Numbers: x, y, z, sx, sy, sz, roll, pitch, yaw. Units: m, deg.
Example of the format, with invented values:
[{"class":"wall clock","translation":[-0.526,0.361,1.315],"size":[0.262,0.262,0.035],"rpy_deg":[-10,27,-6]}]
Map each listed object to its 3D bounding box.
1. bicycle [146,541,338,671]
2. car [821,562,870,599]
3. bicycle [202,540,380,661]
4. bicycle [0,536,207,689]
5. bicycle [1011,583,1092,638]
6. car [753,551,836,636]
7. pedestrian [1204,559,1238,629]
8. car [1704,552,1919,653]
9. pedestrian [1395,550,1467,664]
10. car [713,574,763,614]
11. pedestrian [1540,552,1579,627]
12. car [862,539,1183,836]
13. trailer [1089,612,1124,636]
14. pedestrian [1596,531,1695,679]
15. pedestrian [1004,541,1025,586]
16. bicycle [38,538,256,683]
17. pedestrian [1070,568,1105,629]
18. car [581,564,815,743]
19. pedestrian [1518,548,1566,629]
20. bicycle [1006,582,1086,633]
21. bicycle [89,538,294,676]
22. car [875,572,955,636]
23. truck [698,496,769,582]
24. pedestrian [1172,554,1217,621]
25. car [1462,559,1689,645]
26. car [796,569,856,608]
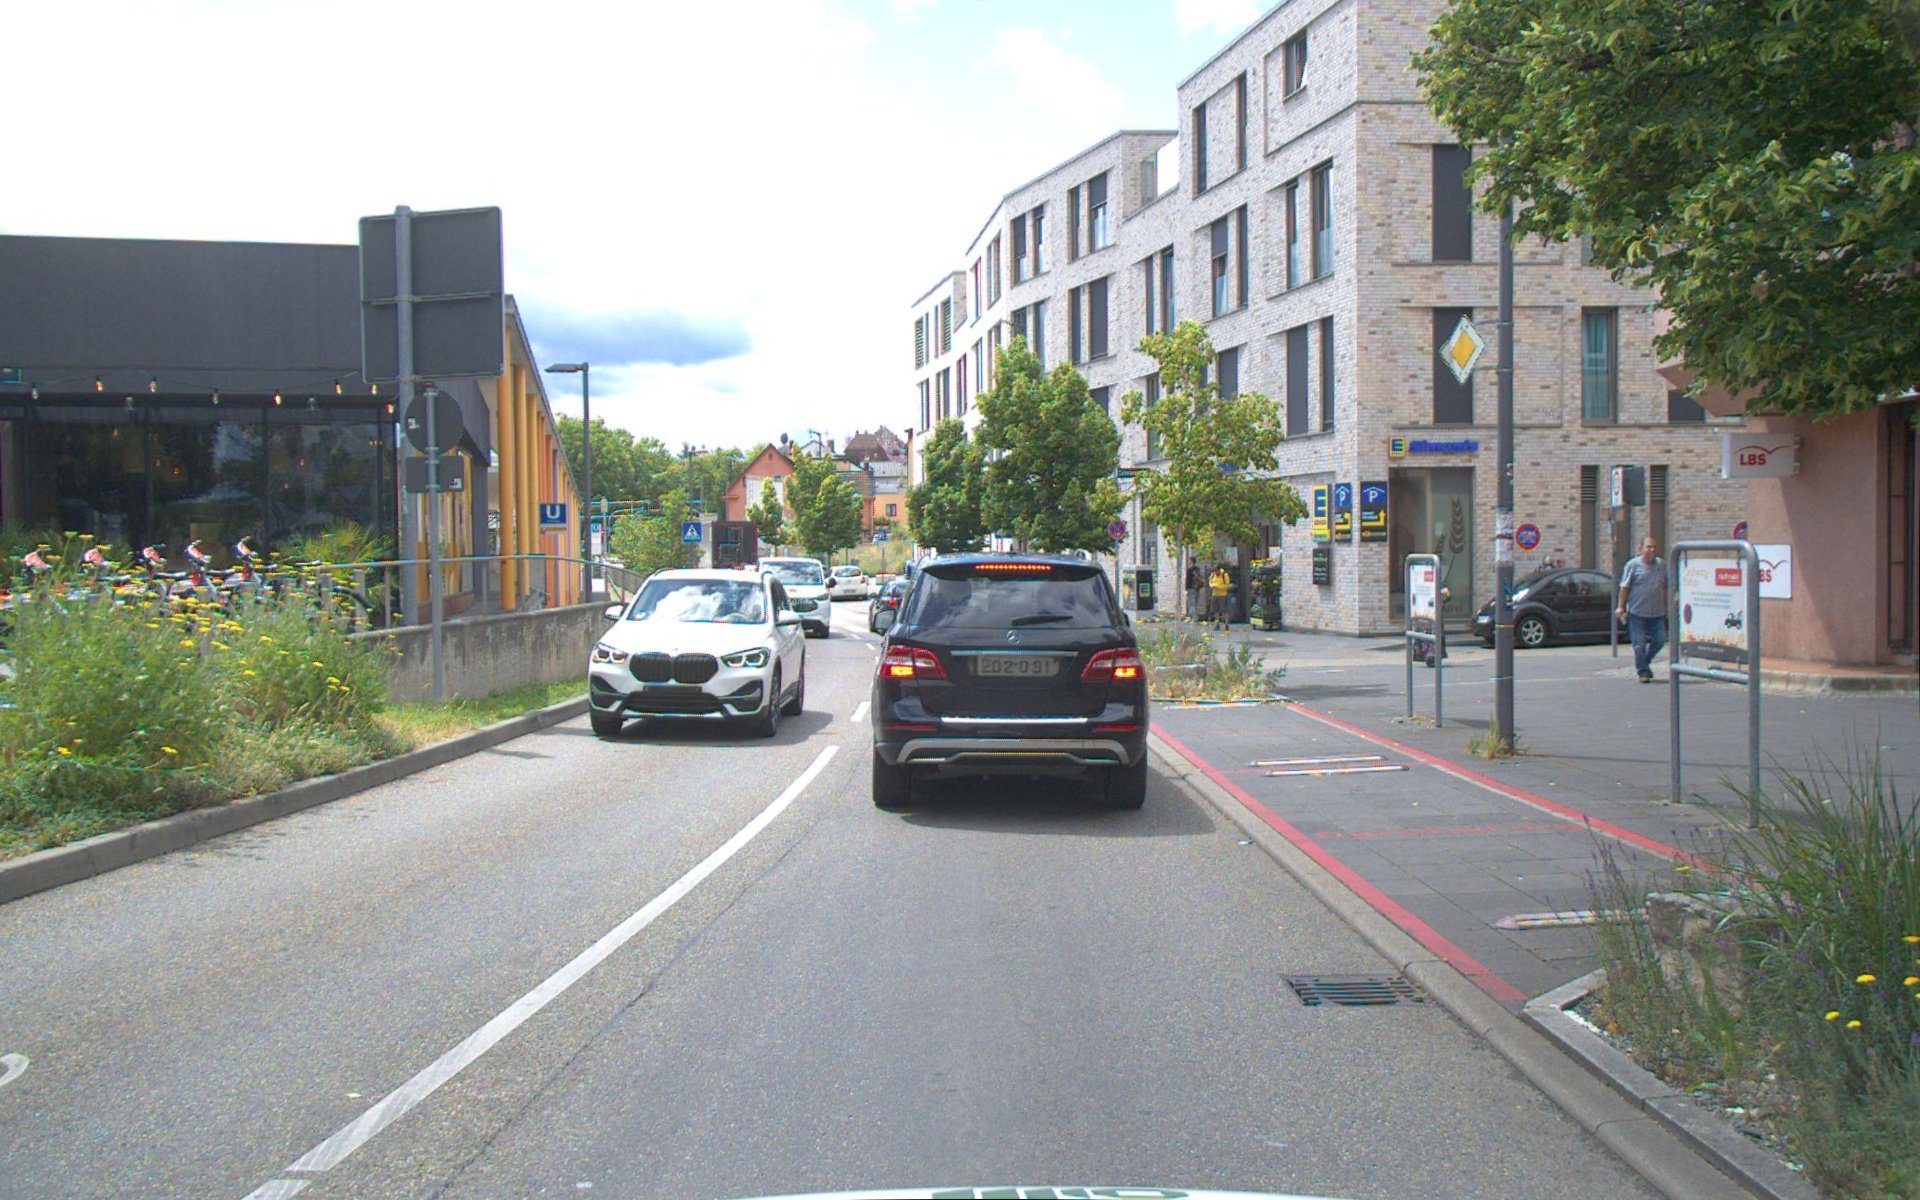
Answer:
[{"class":"bicycle","translation":[-6.649,0.051,15.356],"size":[1.514,1.147,0.533],"rpy_deg":[-1,1,1]},{"class":"car","translation":[-5.135,-0.896,73.937],"size":[1.663,1.509,3.787],"rpy_deg":[-2,2,-11]},{"class":"bicycle","translation":[-6.627,-0.003,16.427],"size":[1.514,1.147,0.533],"rpy_deg":[-1,1,1]},{"class":"bicycle","translation":[-6.818,0.092,13.015],"size":[1.514,1.147,0.533],"rpy_deg":[-1,1,1]},{"class":"bicycle","translation":[2.158,0.250,39.099],"size":[1.788,1.222,0.755],"rpy_deg":[-2,1,-7]},{"class":"car","translation":[-4.361,-0.202,42.845],"size":[1.956,2.049,5.386],"rpy_deg":[1,1,-7]},{"class":"pedestrian","translation":[6.490,-0.145,41.174],"size":[0.645,1.722,0.631],"rpy_deg":[-1,1,27]},{"class":"car","translation":[14.420,0.015,27.498],"size":[3.313,1.502,1.718],"rpy_deg":[-2,1,-2]},{"class":"pedestrian","translation":[7.222,0.103,25.333],"size":[0.731,1.667,0.924],"rpy_deg":[-2,2,36]},{"class":"car","translation":[-8.759,-0.275,65.090],"size":[1.740,1.489,4.224],"rpy_deg":[0,1,-10]},{"class":"pedestrian","translation":[12.934,-0.212,35.680],"size":[0.516,1.600,0.596],"rpy_deg":[1,-1,-33]},{"class":"car","translation":[0.317,0.493,12.613],"size":[1.953,1.777,4.531],"rpy_deg":[-2,1,-2]},{"class":"trailer","translation":[3.443,0.568,38.977],"size":[0.705,0.537,0.811],"rpy_deg":[0,1,-3]},{"class":"pedestrian","translation":[8.196,0.060,19.801],"size":[0.702,1.715,0.944],"rpy_deg":[-2,0,-3]},{"class":"pedestrian","translation":[1.849,-1.247,56.265],"size":[0.595,1.498,0.790],"rpy_deg":[-2,2,-5]},{"class":"bicycle","translation":[-6.746,0.078,13.756],"size":[1.514,1.147,0.533],"rpy_deg":[-1,1,1]},{"class":"pedestrian","translation":[3.340,-0.030,43.363],"size":[0.796,1.592,0.929],"rpy_deg":[0,-1,-4]},{"class":"car","translation":[-2.596,0.464,17.315],"size":[1.785,1.612,4.165],"rpy_deg":[1,1,-1]},{"class":"pedestrian","translation":[12.423,-0.240,35.312],"size":[0.548,1.700,0.806],"rpy_deg":[1,-1,-33]},{"class":"bicycle","translation":[2.066,0.173,39.923],"size":[1.788,1.151,0.755],"rpy_deg":[-2,1,-7]},{"class":"bicycle","translation":[-6.721,0.056,14.493],"size":[1.514,1.147,0.533],"rpy_deg":[-1,1,1]},{"class":"car","translation":[-1.246,0.067,44.055],"size":[1.694,1.482,3.803],"rpy_deg":[-2,2,-8]},{"class":"truck","translation":[-12.994,-3.332,94.207],"size":[3.148,4.615,8.997],"rpy_deg":[0,0,-13]},{"class":"pedestrian","translation":[6.272,-0.340,44.323],"size":[0.998,1.772,0.657],"rpy_deg":[-1,1,-17]},{"class":"car","translation":[12.145,0.018,32.760],"size":[3.820,1.502,1.781],"rpy_deg":[-2,1,-7]},{"class":"car","translation":[-5.520,-0.488,67.747],"size":[1.855,1.491,4.057],"rpy_deg":[-2,1,-12]}]
